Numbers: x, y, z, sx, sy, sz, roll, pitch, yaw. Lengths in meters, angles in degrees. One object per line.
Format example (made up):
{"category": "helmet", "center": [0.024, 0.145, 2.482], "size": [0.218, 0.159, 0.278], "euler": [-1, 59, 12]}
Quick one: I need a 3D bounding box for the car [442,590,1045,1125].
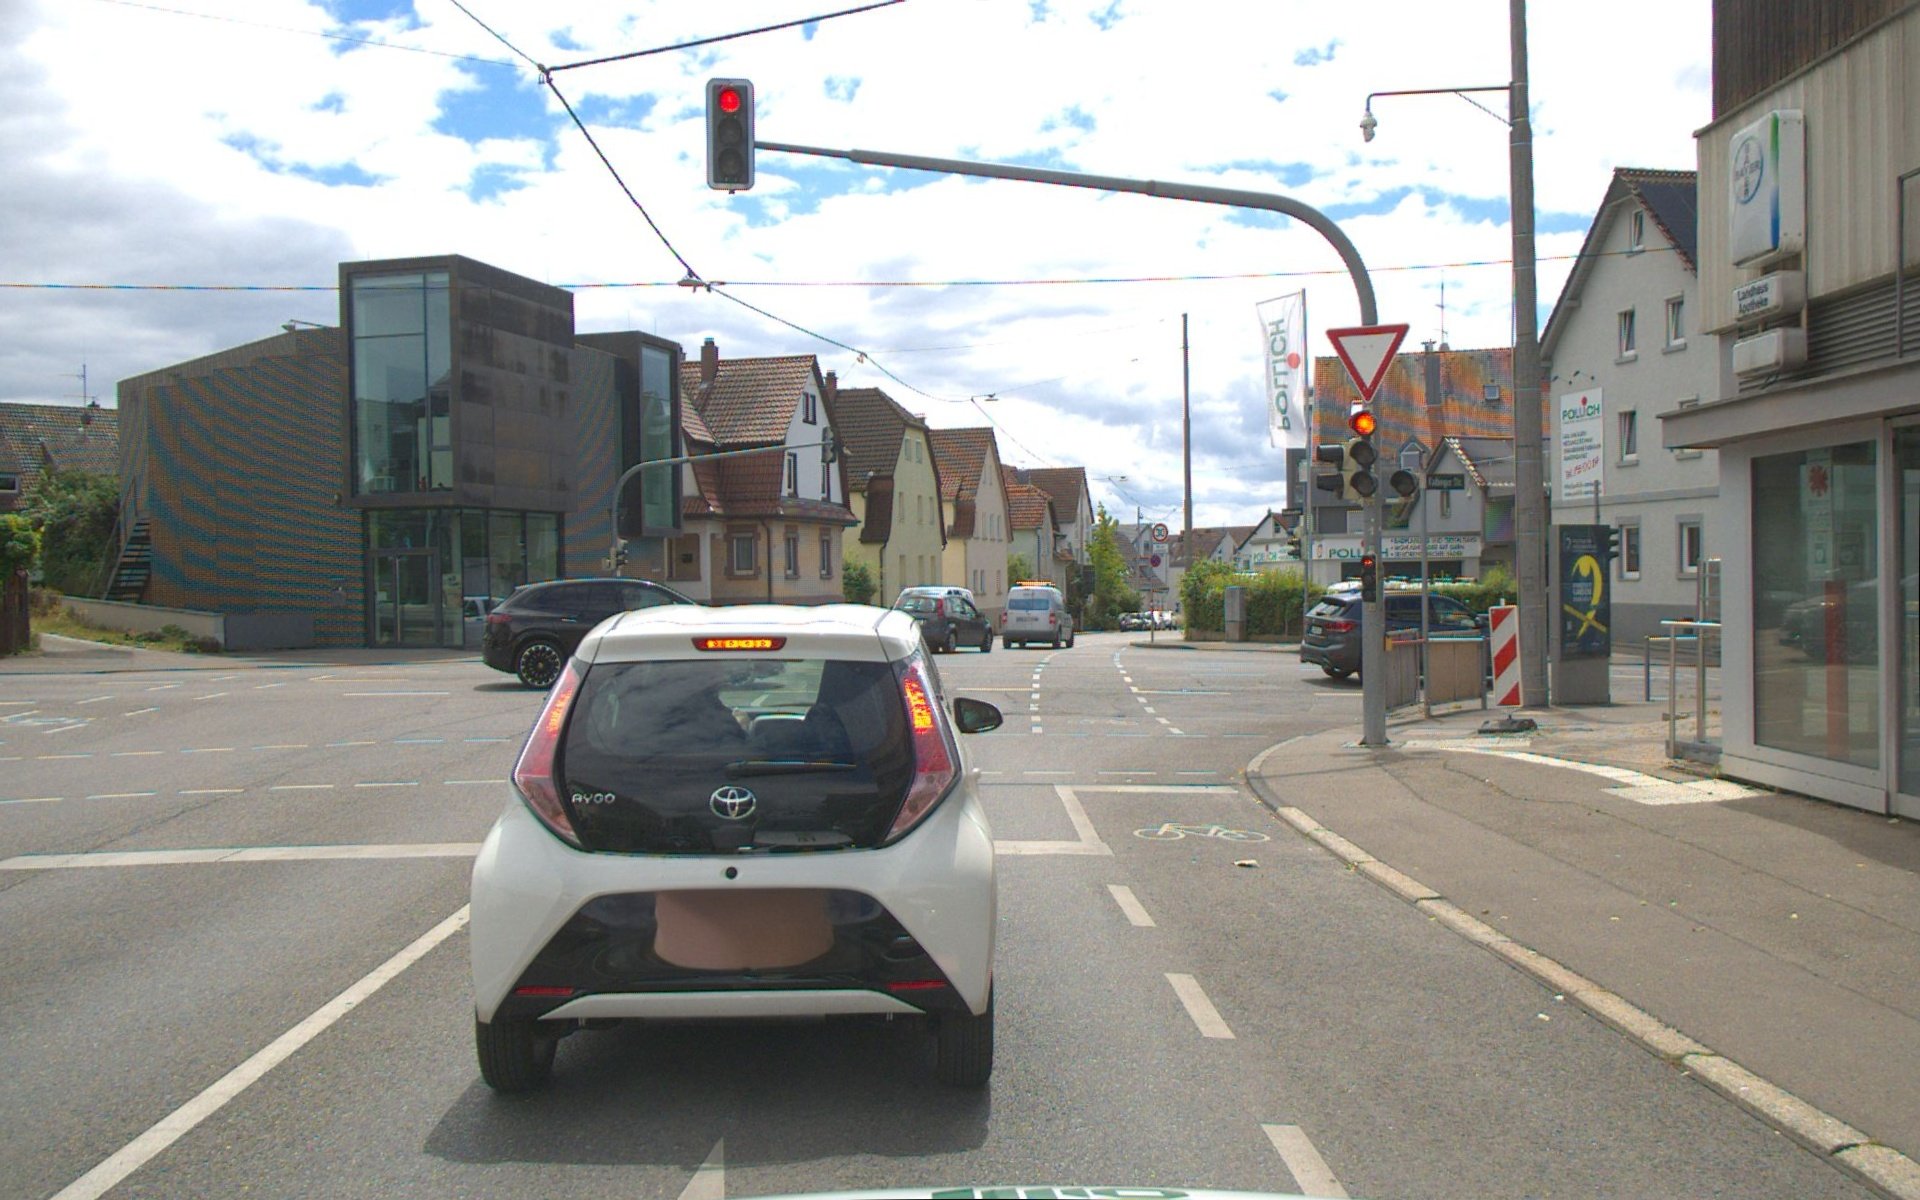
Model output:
{"category": "car", "center": [-0.671, 0.722, 6.283], "size": [1.663, 1.482, 3.297], "euler": [1, 0, -3]}

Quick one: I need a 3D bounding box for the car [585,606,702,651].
{"category": "car", "center": [-10.812, 0.960, 56.574], "size": [3.537, 1.444, 1.693], "euler": [1, 0, 11]}

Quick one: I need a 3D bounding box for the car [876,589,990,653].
{"category": "car", "center": [-0.627, 0.505, 41.488], "size": [1.951, 1.512, 4.003], "euler": [1, 0, 13]}

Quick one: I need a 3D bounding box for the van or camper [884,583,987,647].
{"category": "van or camper", "center": [-0.726, 0.481, 54.445], "size": [2.070, 1.959, 5.289], "euler": [1, 0, 14]}

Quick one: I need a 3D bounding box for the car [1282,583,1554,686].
{"category": "car", "center": [8.056, 0.571, 29.277], "size": [4.216, 1.705, 1.994], "euler": [-1, 0, -12]}

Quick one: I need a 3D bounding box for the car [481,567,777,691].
{"category": "car", "center": [-5.184, 0.410, 26.325], "size": [4.417, 1.773, 1.996], "euler": [-1, 2, -10]}

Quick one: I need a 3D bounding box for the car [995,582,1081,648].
{"category": "car", "center": [2.420, 0.439, 50.410], "size": [1.951, 1.881, 4.076], "euler": [1, 0, 12]}

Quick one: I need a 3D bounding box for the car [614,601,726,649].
{"category": "car", "center": [-10.273, 0.871, 58.706], "size": [3.537, 1.633, 1.693], "euler": [1, 0, 11]}
